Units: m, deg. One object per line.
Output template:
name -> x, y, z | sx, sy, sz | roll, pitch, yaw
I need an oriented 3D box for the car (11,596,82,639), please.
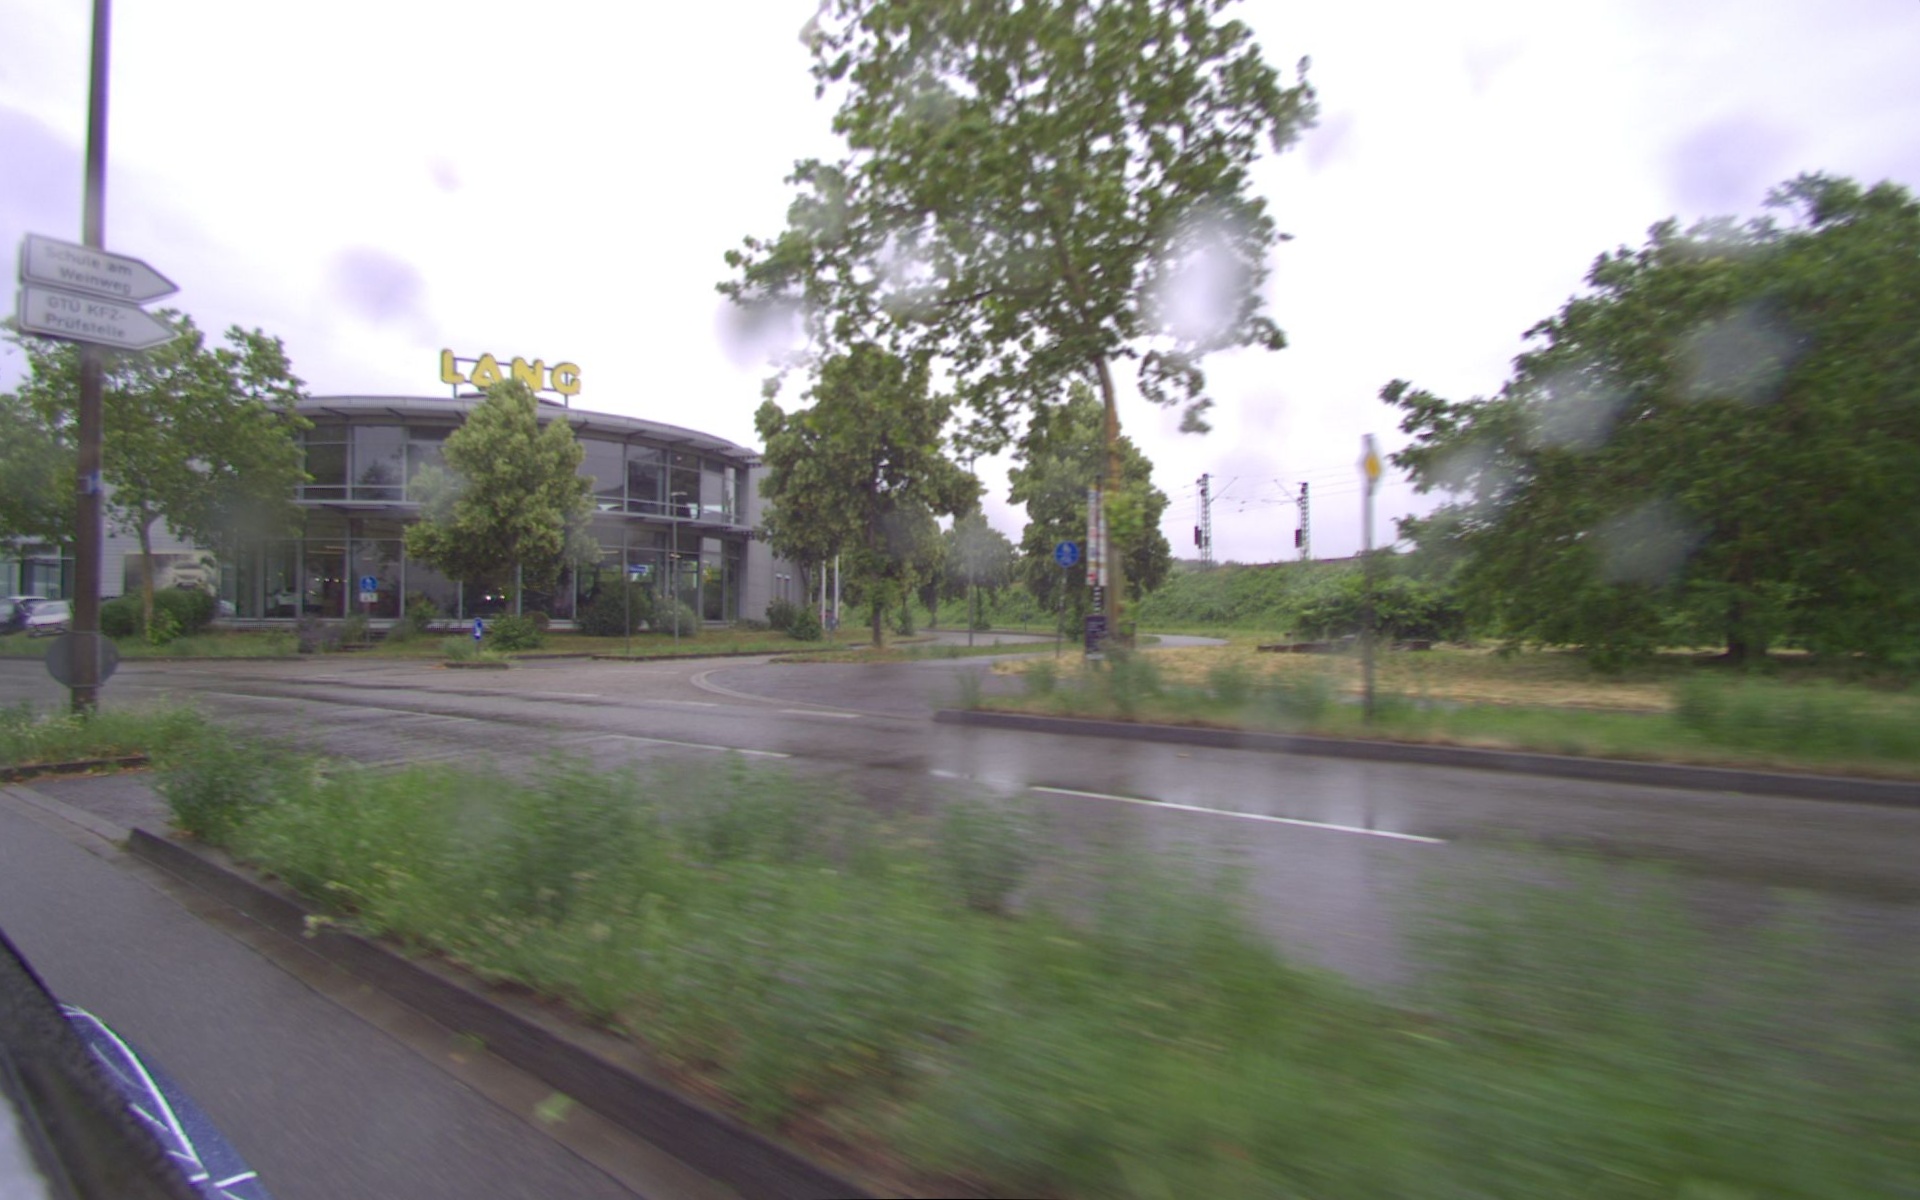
car -> -42.807, 0.782, 47.513 | 1.755, 1.486, 4.012 | -7, 8, -33

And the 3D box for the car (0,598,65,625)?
car -> -52.395, 0.616, 55.785 | 1.897, 1.485, 4.426 | 0, 0, 8

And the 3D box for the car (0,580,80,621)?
car -> -64.574, -0.010, 70.120 | 5.253, 2.773, 2.175 | -1, 1, -38

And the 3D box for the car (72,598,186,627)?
car -> -44.123, 0.655, 53.816 | 1.916, 1.485, 4.383 | 0, 0, 35

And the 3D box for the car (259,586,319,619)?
car -> -31.784, 0.140, 47.918 | 1.757, 1.487, 4.117 | 0, 0, -42

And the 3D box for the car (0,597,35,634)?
car -> -46.707, 0.813, 48.794 | 1.816, 1.432, 4.145 | -6, 7, -25
